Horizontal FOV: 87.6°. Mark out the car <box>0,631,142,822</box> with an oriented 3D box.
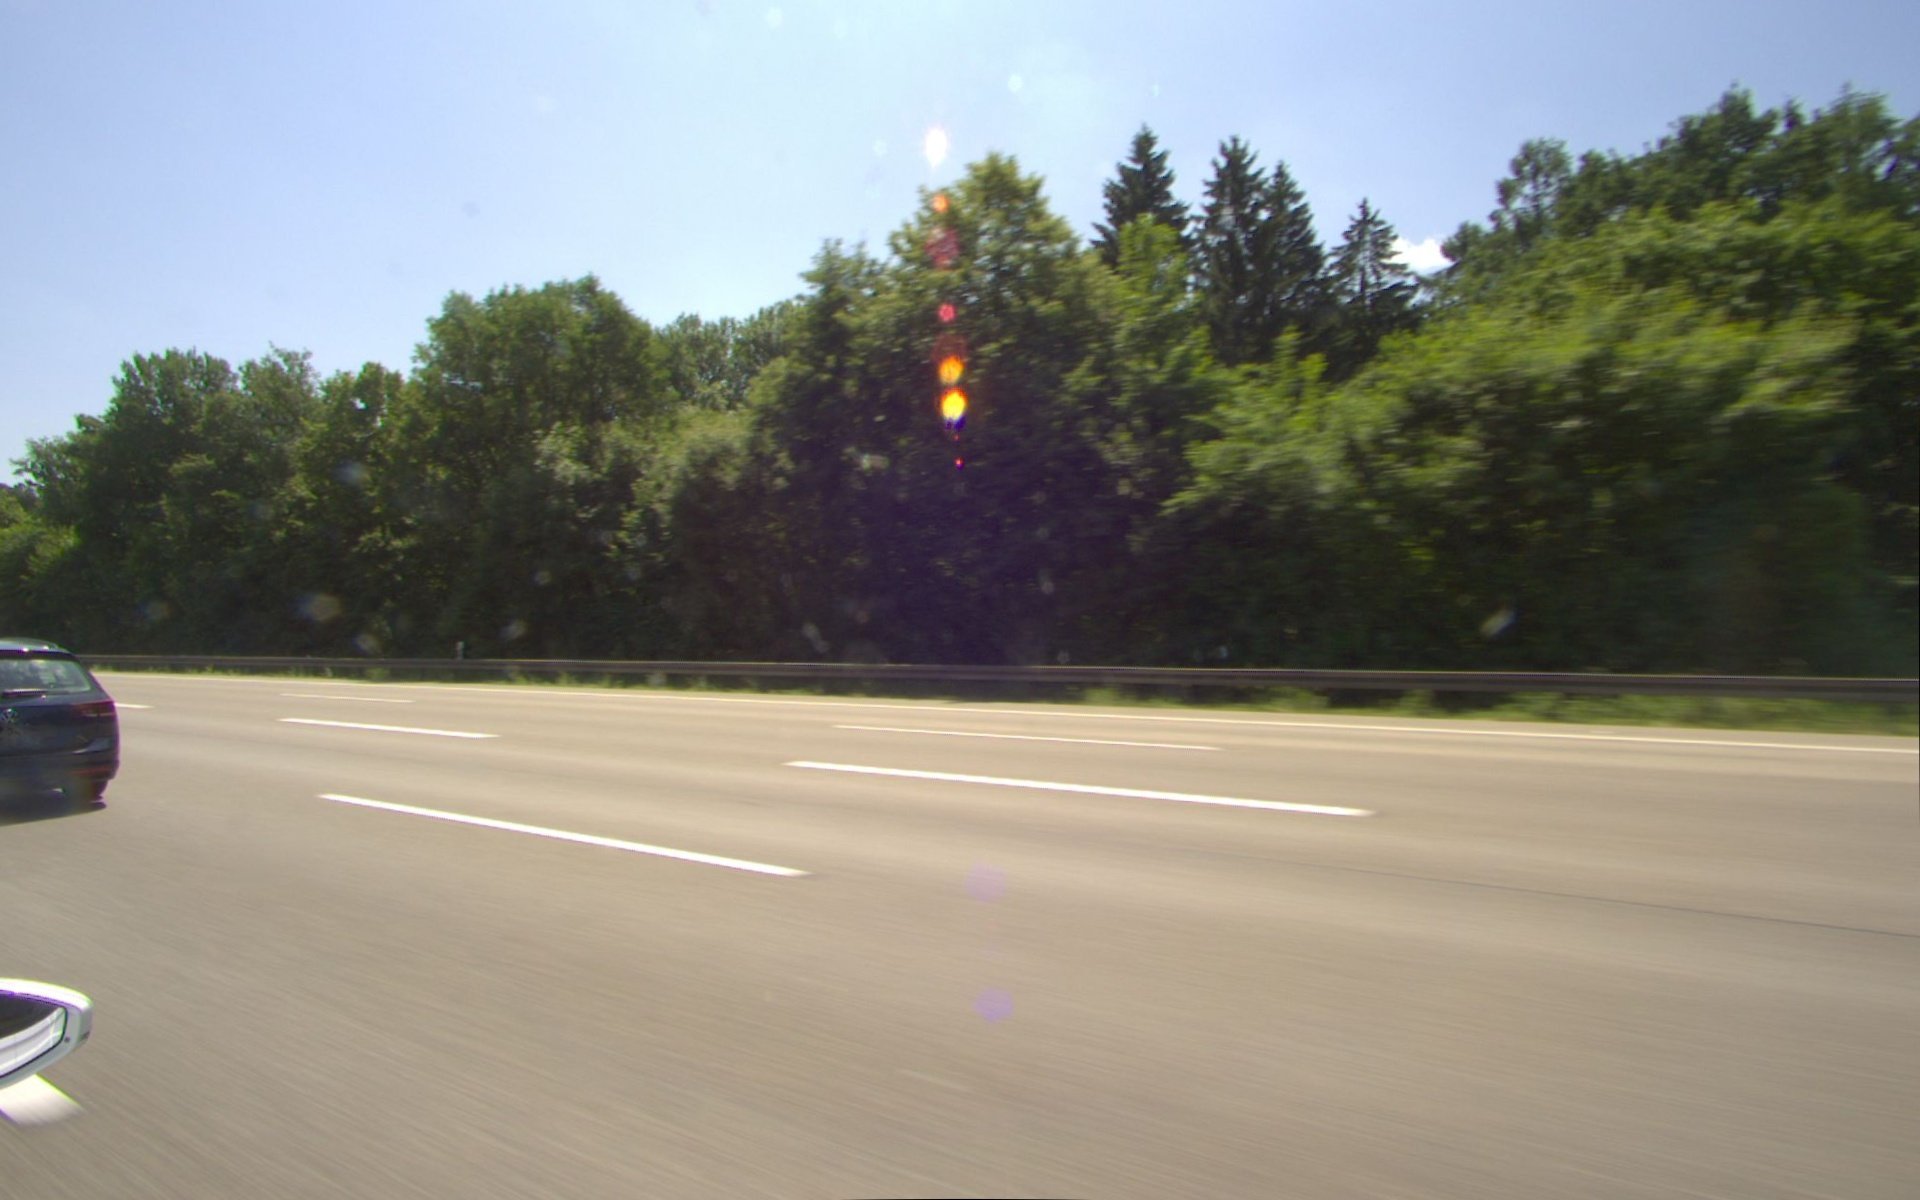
[{"bbox_3d":[-9.473,1.022,9.101,4.891,1.466,1.726,-1,-1,33],"label":"car"}]
